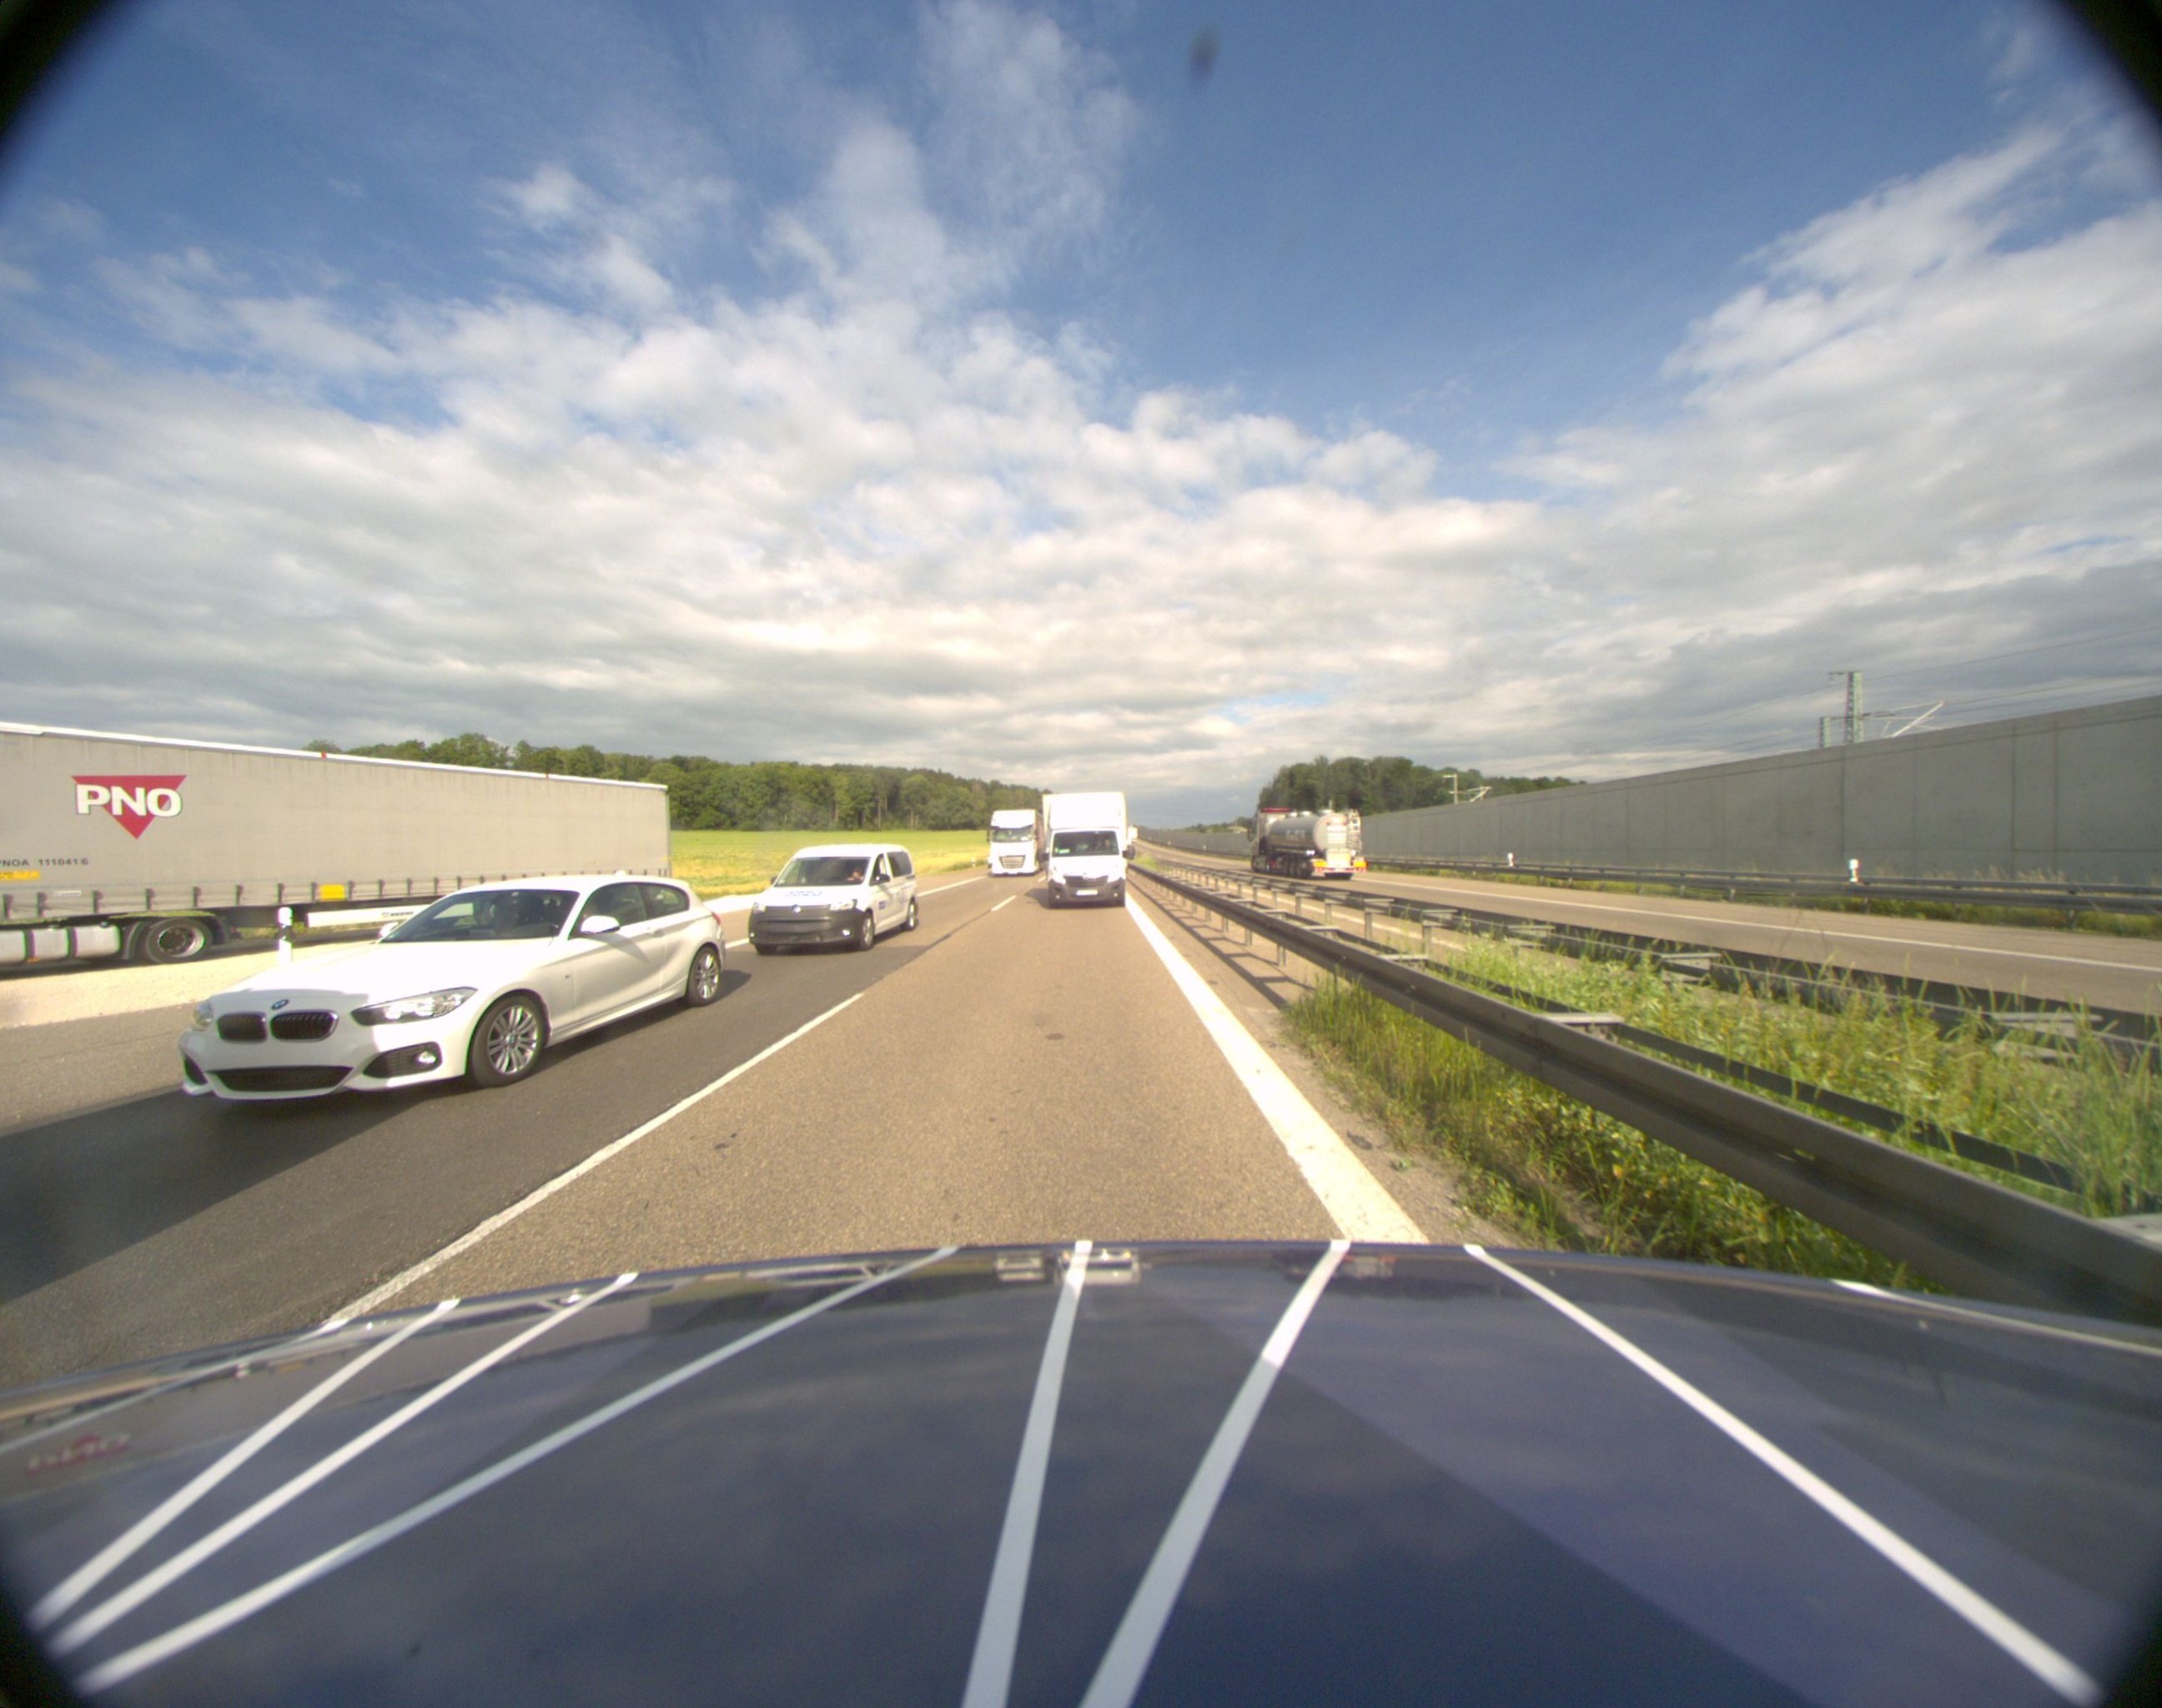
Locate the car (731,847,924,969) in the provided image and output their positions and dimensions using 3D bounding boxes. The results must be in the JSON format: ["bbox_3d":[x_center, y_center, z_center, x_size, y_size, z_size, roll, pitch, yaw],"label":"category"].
[{"bbox_3d":[-4.249,0.782,13.643,1.729,1.746,4.702,-2,1,1],"label":"car"}]

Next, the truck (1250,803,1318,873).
[{"bbox_3d":[12.022,-0.923,45.526,2.589,3.900,5.721,0,1,1],"label":"truck"}]

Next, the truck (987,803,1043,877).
[{"bbox_3d":[-3.938,-0.874,46.651,2.736,4.150,5.766,-2,1,1],"label":"truck"}]

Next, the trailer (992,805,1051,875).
[{"bbox_3d":[-3.900,-1.009,52.955,2.742,4.137,14.015,-2,1,0],"label":"trailer"}]

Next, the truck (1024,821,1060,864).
[{"bbox_3d":[-3.878,-1.154,78.697,2.946,4.094,12.523,-1,1,0],"label":"truck"}]

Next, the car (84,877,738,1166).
[{"bbox_3d":[-4.772,1.026,6.449,1.708,1.424,4.231,-2,1,1],"label":"car"}]

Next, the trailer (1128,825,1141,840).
[{"bbox_3d":[15.241,-6.183,218.118,2.797,4.054,13.518,0,1,0],"label":"trailer"}]

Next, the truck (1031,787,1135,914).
[{"bbox_3d":[0.095,-0.148,24.943,2.500,3.082,12.037,-2,1,0],"label":"truck"}]

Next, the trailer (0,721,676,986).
[{"bbox_3d":[-16.474,-0.071,18.444,2.739,4.136,13.843,-2,0,16],"label":"trailer"}]

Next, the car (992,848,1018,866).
[{"bbox_3d":[-6.781,0.244,68.351,1.808,1.583,4.675,-1,1,1],"label":"car"}]

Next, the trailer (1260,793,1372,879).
[{"bbox_3d":[11.969,-0.866,40.004,2.594,3.879,10.863,0,1,0],"label":"trailer"}]

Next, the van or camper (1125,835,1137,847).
[{"bbox_3d":[11.055,-2.890,169.582,2.258,2.688,7.169,-1,1,0],"label":"van or camper"}]

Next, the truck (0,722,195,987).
[{"bbox_3d":[-18.279,0.048,11.970,2.717,4.149,4.765,-2,1,16],"label":"truck"}]
